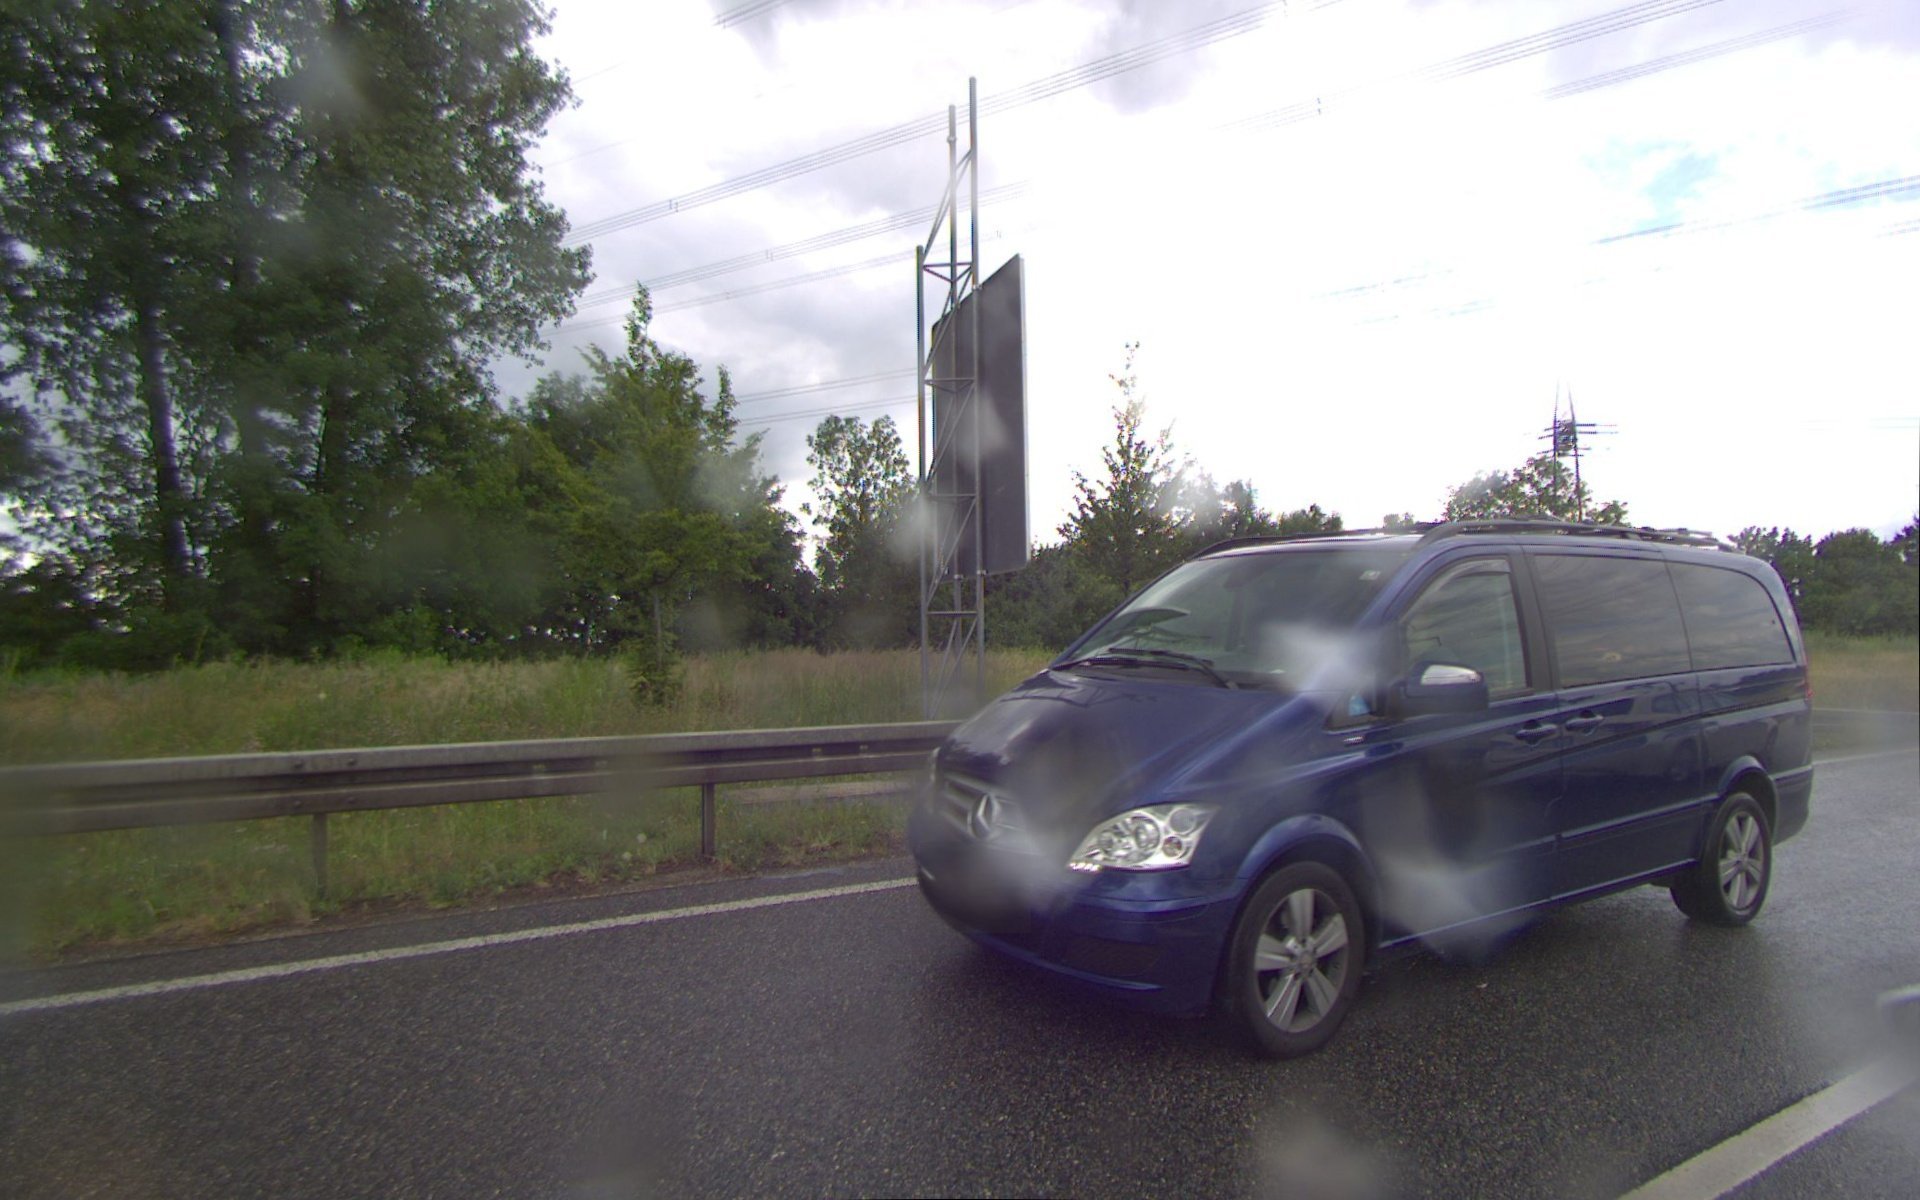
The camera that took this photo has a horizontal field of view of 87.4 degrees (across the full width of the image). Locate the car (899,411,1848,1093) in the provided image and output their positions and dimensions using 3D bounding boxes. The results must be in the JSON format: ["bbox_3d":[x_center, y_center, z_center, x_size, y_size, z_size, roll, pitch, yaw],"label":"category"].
[{"bbox_3d":[2.275,0.517,5.085,4.804,2.040,1.953,1,-1,-30],"label":"car"}]
